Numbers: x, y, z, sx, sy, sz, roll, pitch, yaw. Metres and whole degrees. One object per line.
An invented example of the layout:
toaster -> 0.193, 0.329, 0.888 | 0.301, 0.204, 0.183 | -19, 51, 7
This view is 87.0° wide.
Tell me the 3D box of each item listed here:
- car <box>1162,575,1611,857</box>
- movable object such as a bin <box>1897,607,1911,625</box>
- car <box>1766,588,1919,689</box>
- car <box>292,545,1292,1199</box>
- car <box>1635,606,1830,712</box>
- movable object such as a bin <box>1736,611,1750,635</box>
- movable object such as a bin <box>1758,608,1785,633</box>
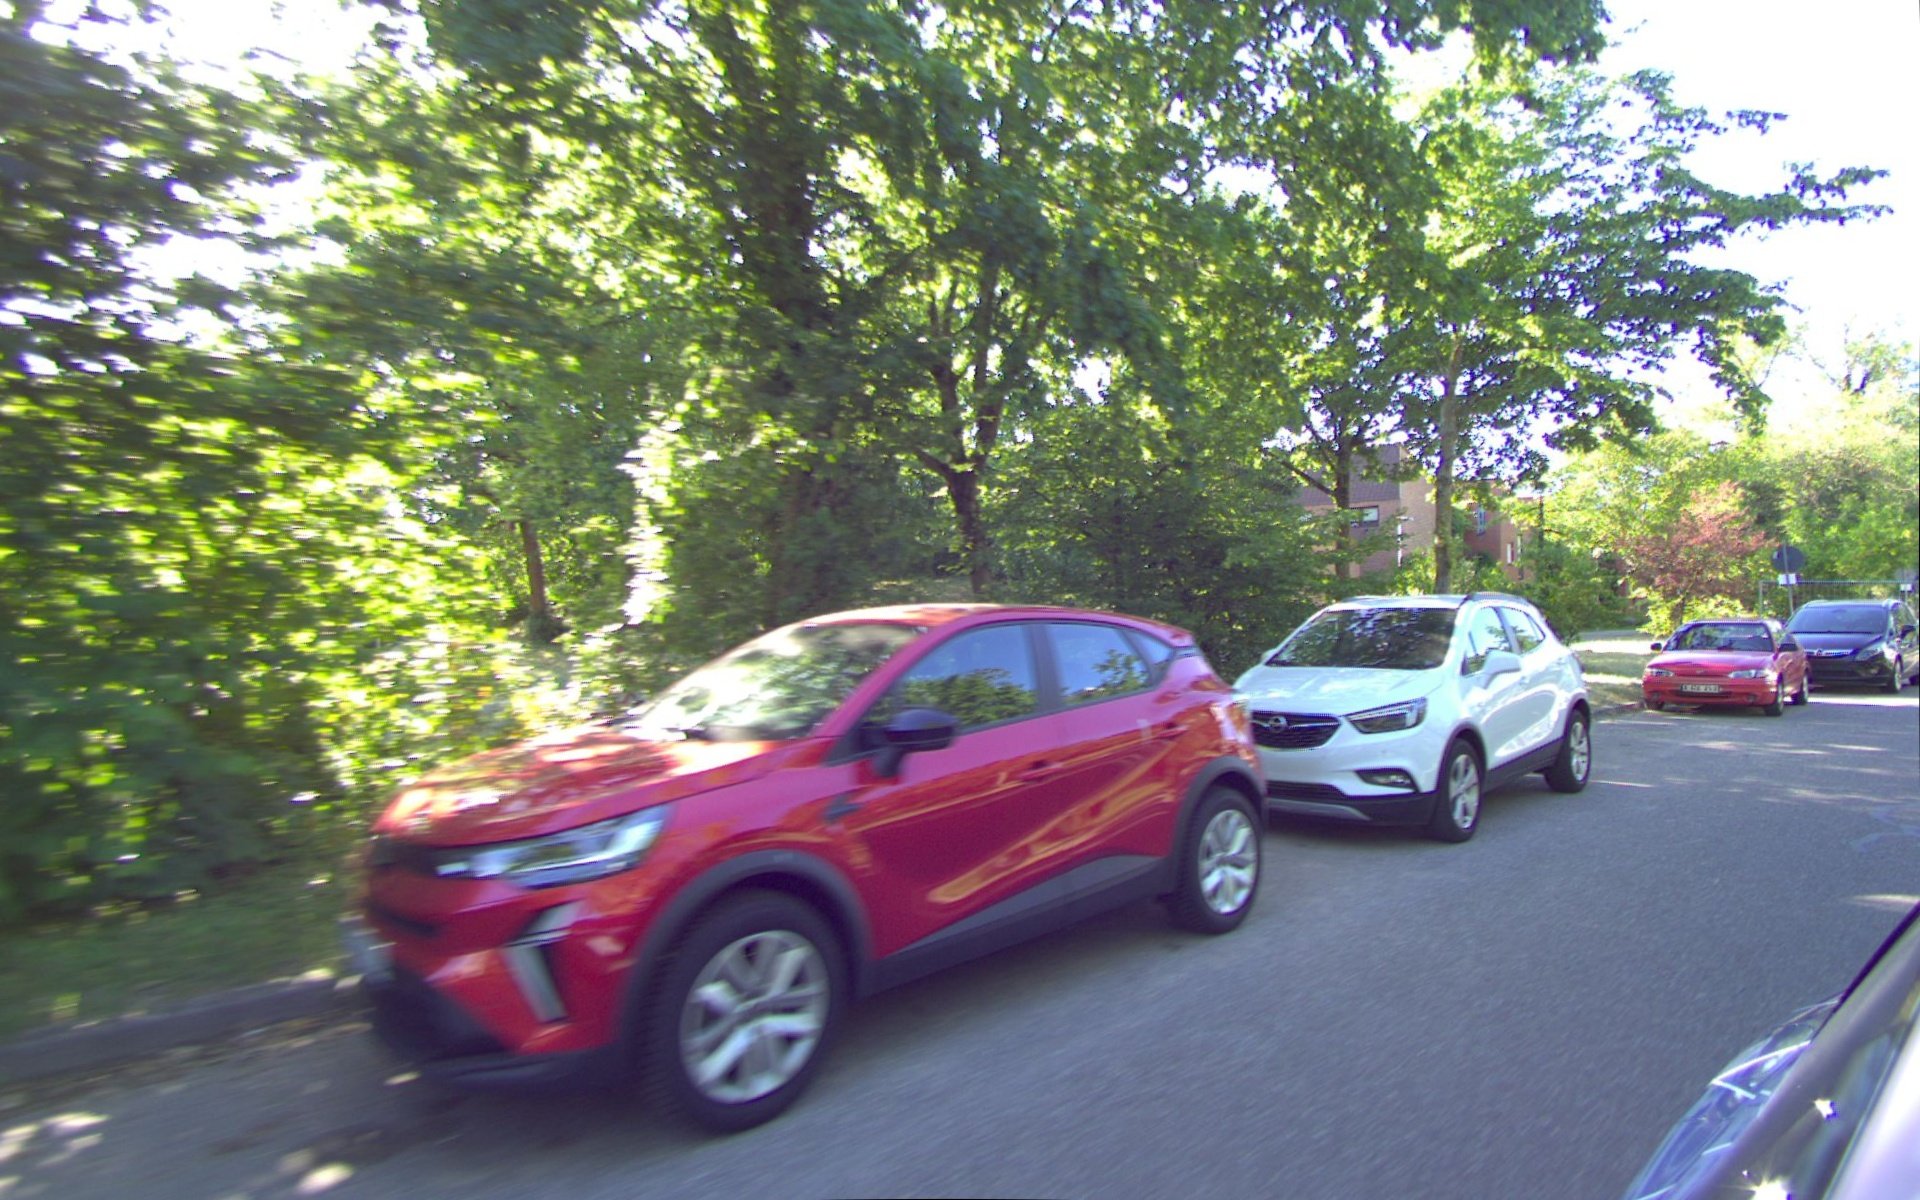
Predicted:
car -> 3.512, 0.702, 7.955 | 3.997, 1.642, 1.776 | 0, -2, -44
movable object such as a bin -> 46.416, 0.785, 49.762 | 0.550, 0.872, 0.484 | 0, -1, -45
car -> 16.815, 0.660, 18.879 | 4.340, 1.672, 1.814 | 0, -2, -38
car -> -0.383, 0.718, 4.415 | 3.997, 1.642, 1.776 | 0, -2, -44
car -> 11.961, 0.825, 15.574 | 4.084, 1.393, 1.663 | 0, -2, -43
movable object such as a bin -> 30.551, 0.882, 39.483 | 0.424, 0.893, 0.518 | 1, 1, 36
movable object such as a bin -> 31.260, 0.777, 39.001 | 0.683, 0.940, 0.695 | 0, 1, -42
